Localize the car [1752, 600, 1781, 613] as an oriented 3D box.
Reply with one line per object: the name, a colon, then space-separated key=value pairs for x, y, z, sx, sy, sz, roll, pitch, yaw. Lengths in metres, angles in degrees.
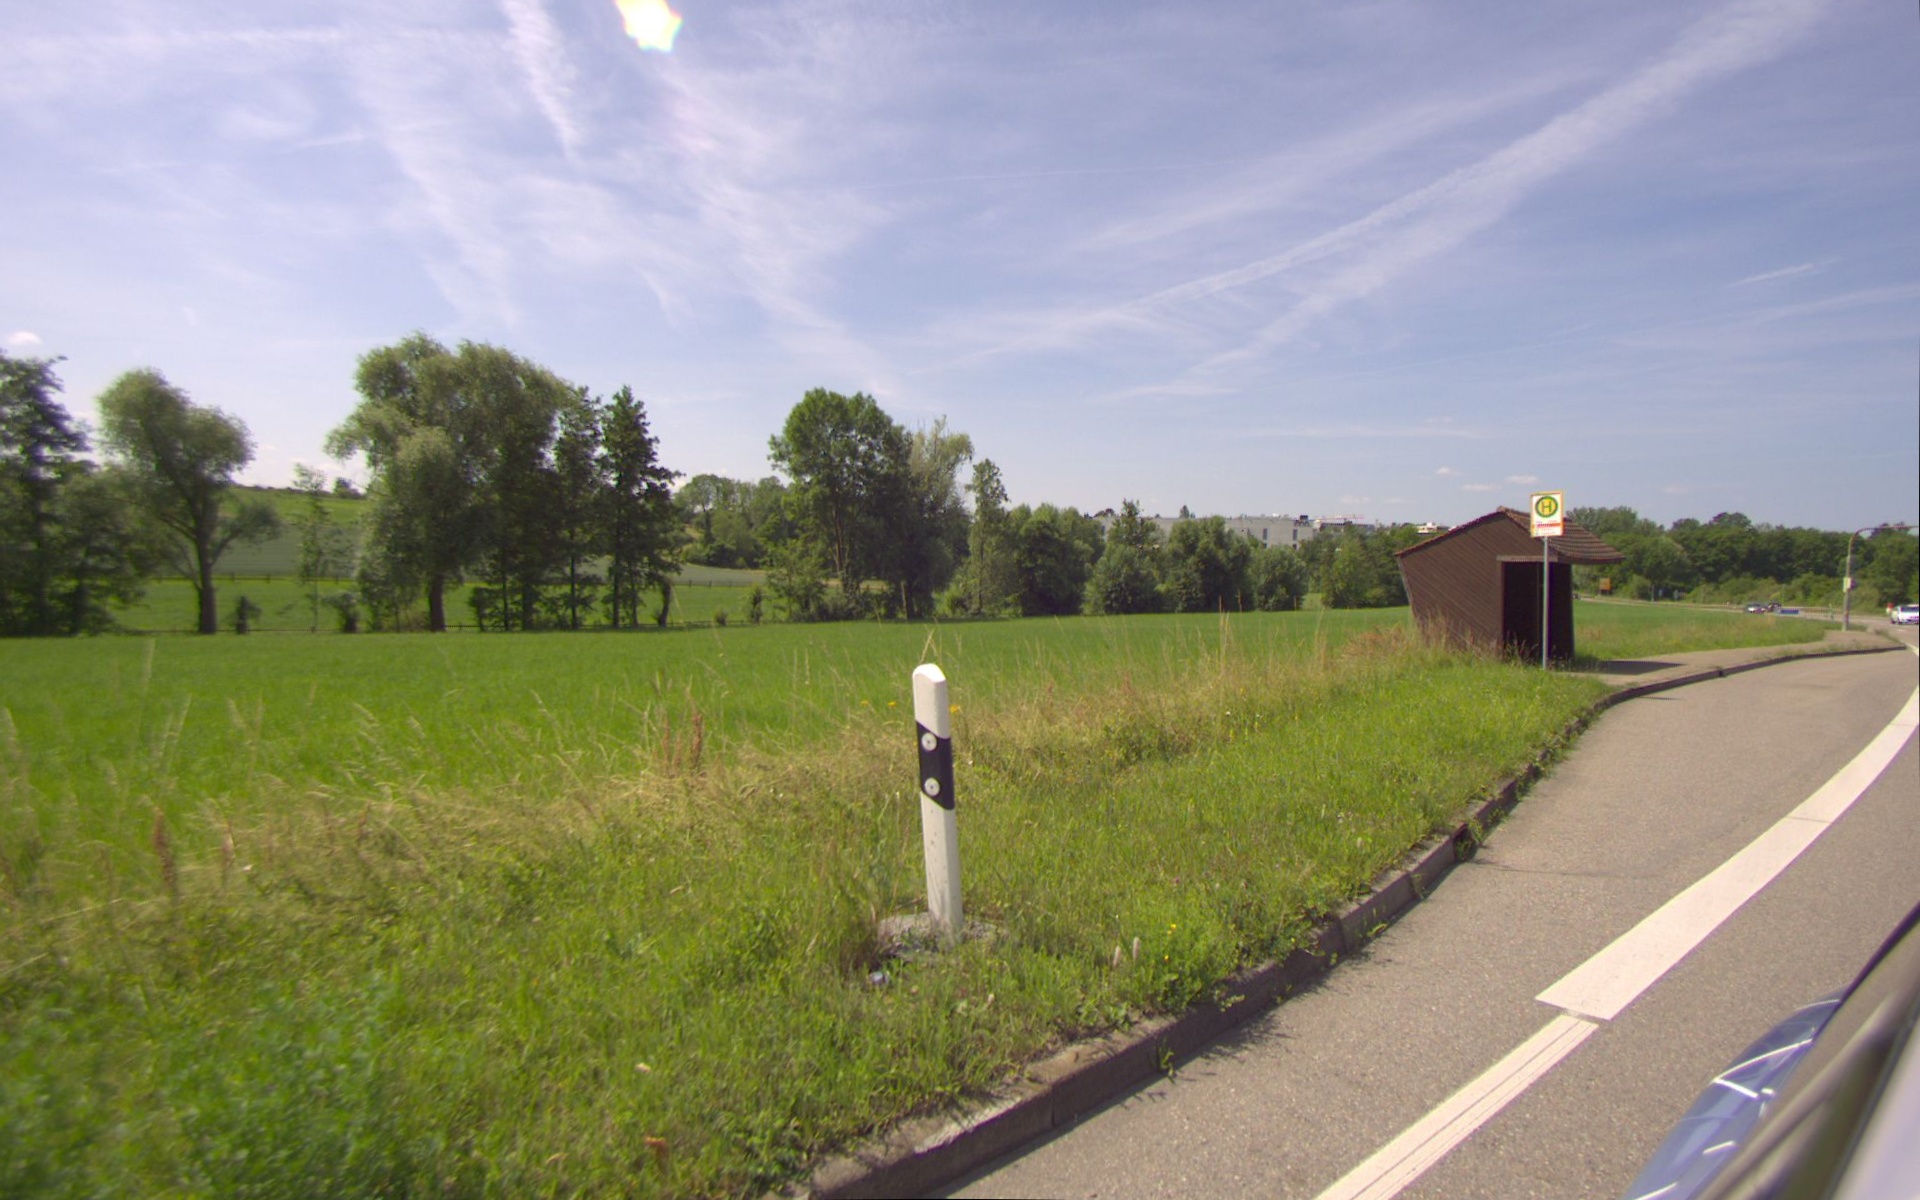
car: x=104.328 y=0.813 z=130.945 sx=1.980 sy=1.605 sz=3.964 roll=0 pitch=0 yaw=26

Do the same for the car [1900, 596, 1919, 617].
car: x=77.797 y=0.515 z=81.865 sx=1.986 sy=1.605 sz=3.951 roll=-1 pitch=0 yaw=34

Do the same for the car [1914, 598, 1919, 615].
car: x=89.656 y=0.569 z=93.145 sx=1.966 sy=1.582 sz=4.139 roll=-1 pitch=0 yaw=33

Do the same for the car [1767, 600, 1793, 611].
car: x=113.406 y=0.727 z=140.029 sx=1.779 sy=1.493 sz=4.271 roll=-1 pitch=0 yaw=26
